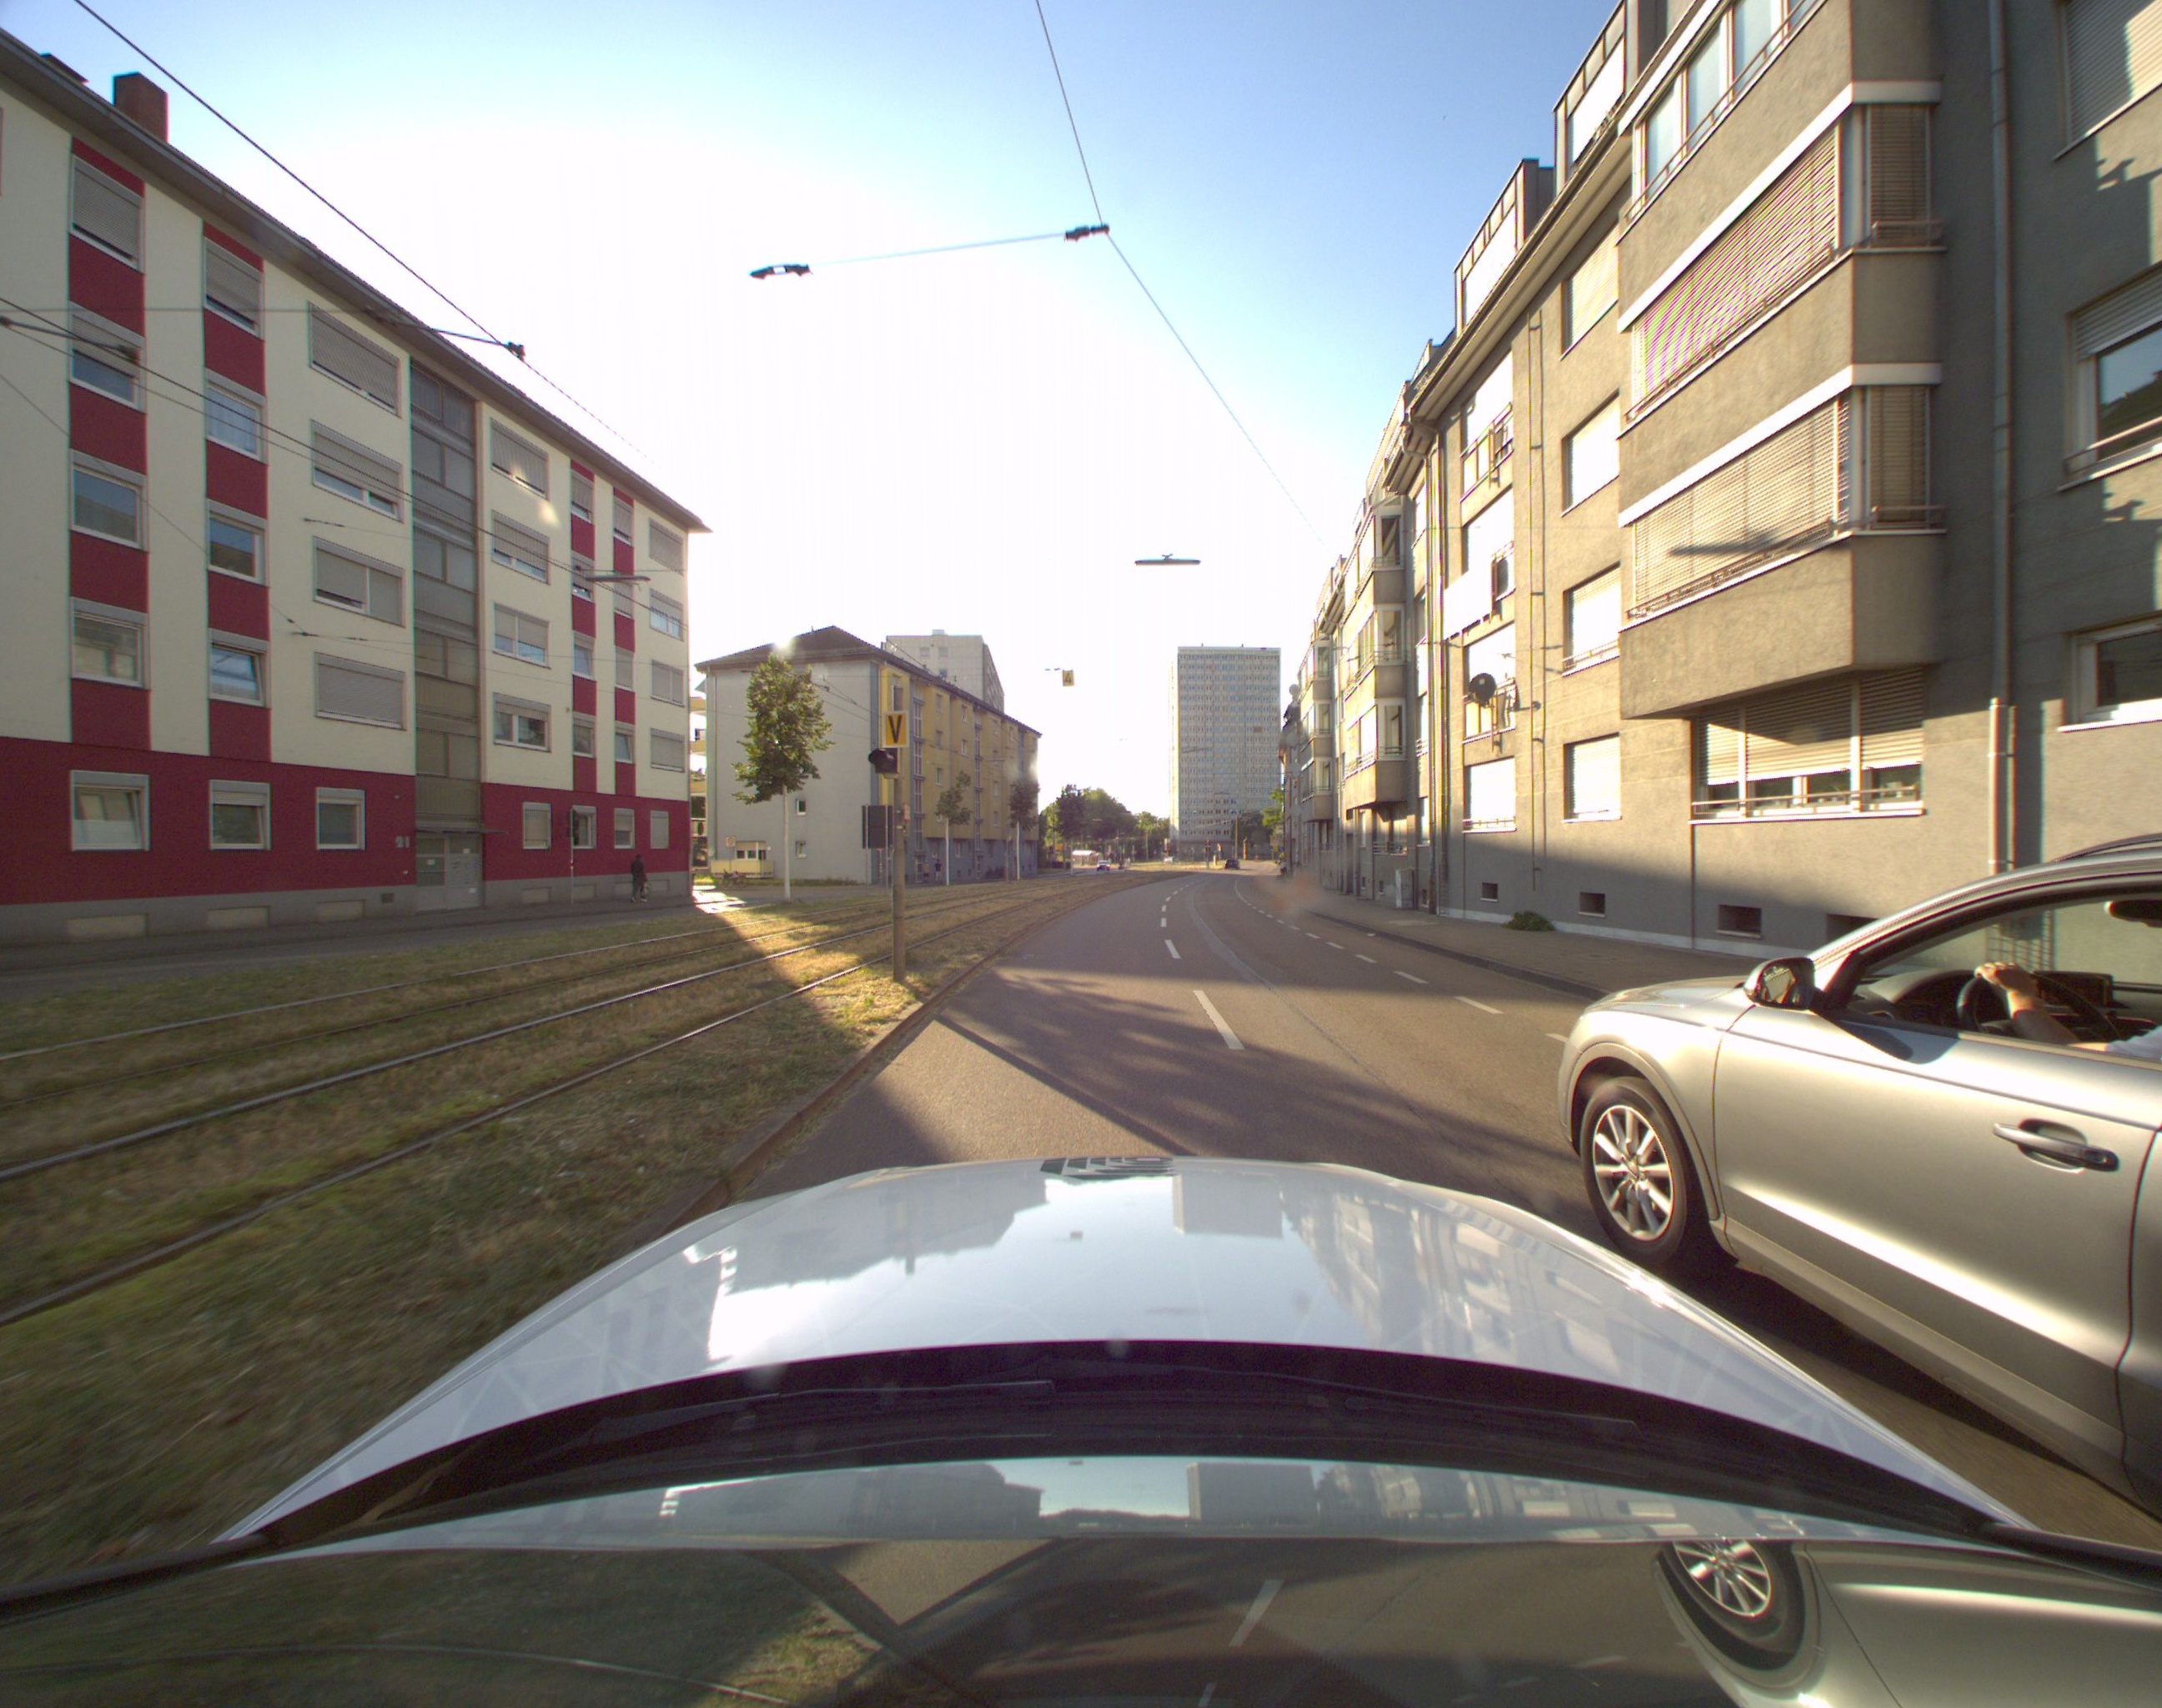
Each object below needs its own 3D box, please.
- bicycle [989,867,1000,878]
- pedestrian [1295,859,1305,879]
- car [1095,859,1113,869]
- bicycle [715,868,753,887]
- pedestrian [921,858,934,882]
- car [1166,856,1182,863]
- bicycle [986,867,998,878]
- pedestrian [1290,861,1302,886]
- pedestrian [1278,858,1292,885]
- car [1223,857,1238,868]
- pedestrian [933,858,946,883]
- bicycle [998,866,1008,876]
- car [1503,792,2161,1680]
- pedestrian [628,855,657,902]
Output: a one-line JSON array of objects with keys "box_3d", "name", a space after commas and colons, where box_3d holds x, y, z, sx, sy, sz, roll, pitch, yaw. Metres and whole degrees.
[{"box_3d": [-7.945, 1.662, 74.825, 0.424, 0.925, 1.918, 3, 0, 13], "name": "bicycle"}, {"box_3d": [14.552, 0.991, 54.154, 0.583, 1.251, 0.586, -1, 0, 11], "name": "pedestrian"}, {"box_3d": [3.347, 1.446, 118.433, 1.782, 1.469, 4.809, -3, -1, 10], "name": "car"}, {"box_3d": [-20.074, 1.357, 47.152, 1.952, 1.076, 0.602, 0, -1, -6], "name": "bicycle"}, {"box_3d": [-11.158, 1.177, 59.082, 0.612, 1.694, 0.708, 4, 1, 11], "name": "pedestrian"}, {"box_3d": [21.632, 1.329, 189.243, 2.002, 1.530, 3.970, -1, 0, -22], "name": "car"}, {"box_3d": [-8.075, 1.673, 73.549, 0.424, 0.925, 1.918, 3, 0, 13], "name": "bicycle"}, {"box_3d": [11.836, 1.076, 44.808, 0.511, 1.344, 0.610, -1, -1, 7], "name": "pedestrian"}, {"box_3d": [13.635, 1.133, 54.367, 0.824, 1.772, 0.999, -1, 0, 11], "name": "pedestrian"}, {"box_3d": [19.969, 1.136, 108.624, 1.760, 1.422, 3.870, -1, 0, 13], "name": "car"}, {"box_3d": [-10.322, 1.177, 59.374, 0.589, 1.773, 0.888, 4, 1, 11], "name": "pedestrian"}, {"box_3d": [-7.405, 1.612, 77.286, 0.424, 0.960, 1.918, -1, 0, 13], "name": "bicycle"}, {"box_3d": [2.822, 0.672, 1.844, 1.759, 1.587, 4.070, -1, 0, 2], "name": "car"}, {"box_3d": [-16.181, 0.893, 30.071, 0.610, 1.689, 0.793, 0, 0, 6], "name": "pedestrian"}]
